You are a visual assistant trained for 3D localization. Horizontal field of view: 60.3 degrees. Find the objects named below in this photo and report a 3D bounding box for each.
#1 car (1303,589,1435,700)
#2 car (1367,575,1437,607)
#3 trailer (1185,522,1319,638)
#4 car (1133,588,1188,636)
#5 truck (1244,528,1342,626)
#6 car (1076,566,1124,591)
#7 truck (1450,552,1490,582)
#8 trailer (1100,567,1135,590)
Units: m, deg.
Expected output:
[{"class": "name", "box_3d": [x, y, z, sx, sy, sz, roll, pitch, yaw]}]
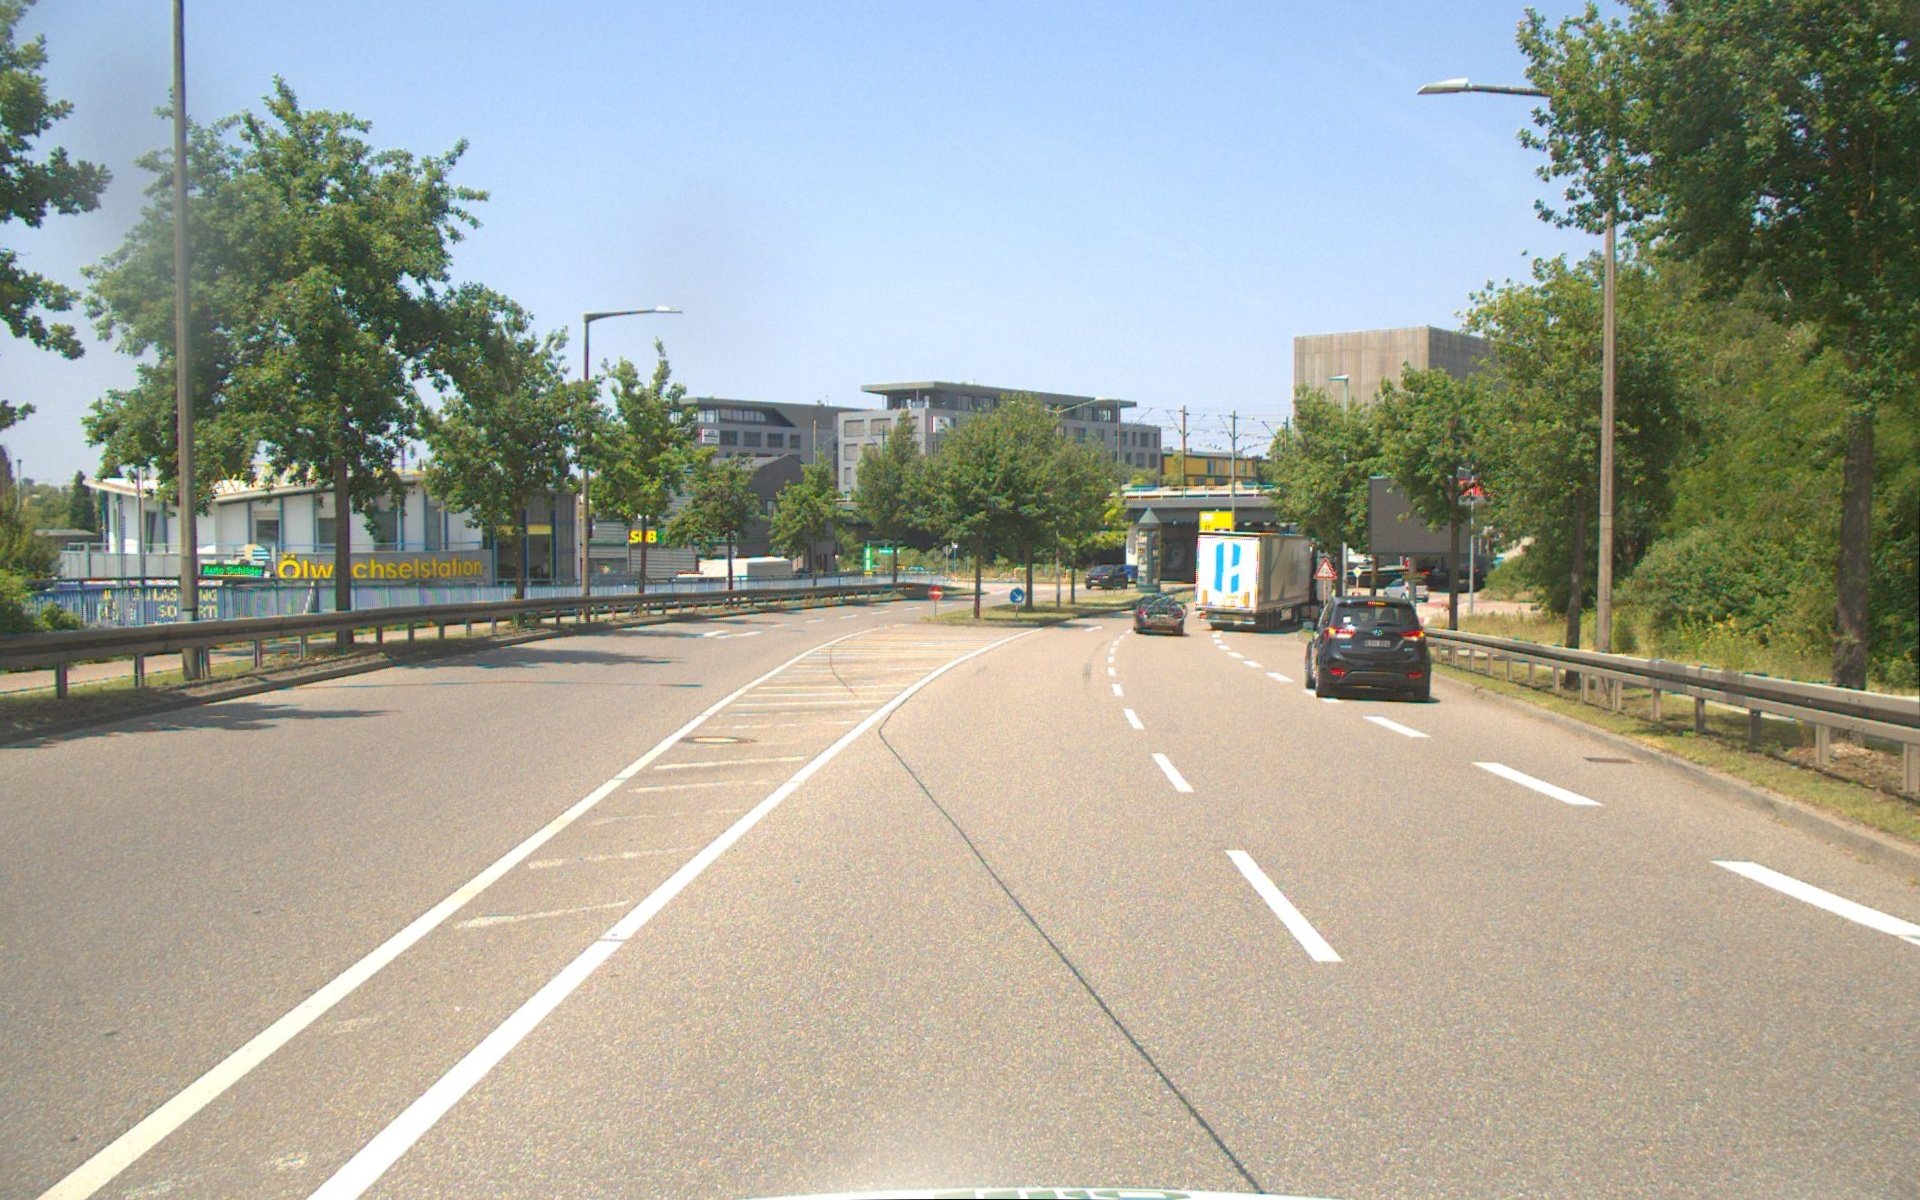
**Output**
[{"class": "car", "box_3d": [6.598, 0.677, 27.029, 1.729, 1.627, 4.081, 1, 0, 9]}, {"class": "car", "box_3d": [28.463, -0.579, 106.643, 1.986, 2.049, 3.934, 0, 1, -45]}, {"class": "trailer", "box_3d": [13.159, -0.966, 73.130, 3.015, 4.443, 14.778, 4, 3, 20]}, {"class": "car", "box_3d": [7.376, 0.396, 60.668, 1.915, 1.662, 4.283, -1, 0, 8]}, {"class": "truck", "box_3d": [16.248, -1.144, 80.431, 3.017, 4.443, 6.073, 4, 3, 26]}, {"class": "car", "box_3d": [9.909, -1.539, 117.180, 1.877, 1.681, 4.403, -2, 0, 26]}, {"class": "truck", "box_3d": [44.706, -2.928, 144.945, 2.035, 2.582, 3.980, 0, 1, 39]}, {"class": "trailer", "box_3d": [11.524, -1.571, 120.709, 1.475, 1.643, 3.305, -2, 0, 26]}]
